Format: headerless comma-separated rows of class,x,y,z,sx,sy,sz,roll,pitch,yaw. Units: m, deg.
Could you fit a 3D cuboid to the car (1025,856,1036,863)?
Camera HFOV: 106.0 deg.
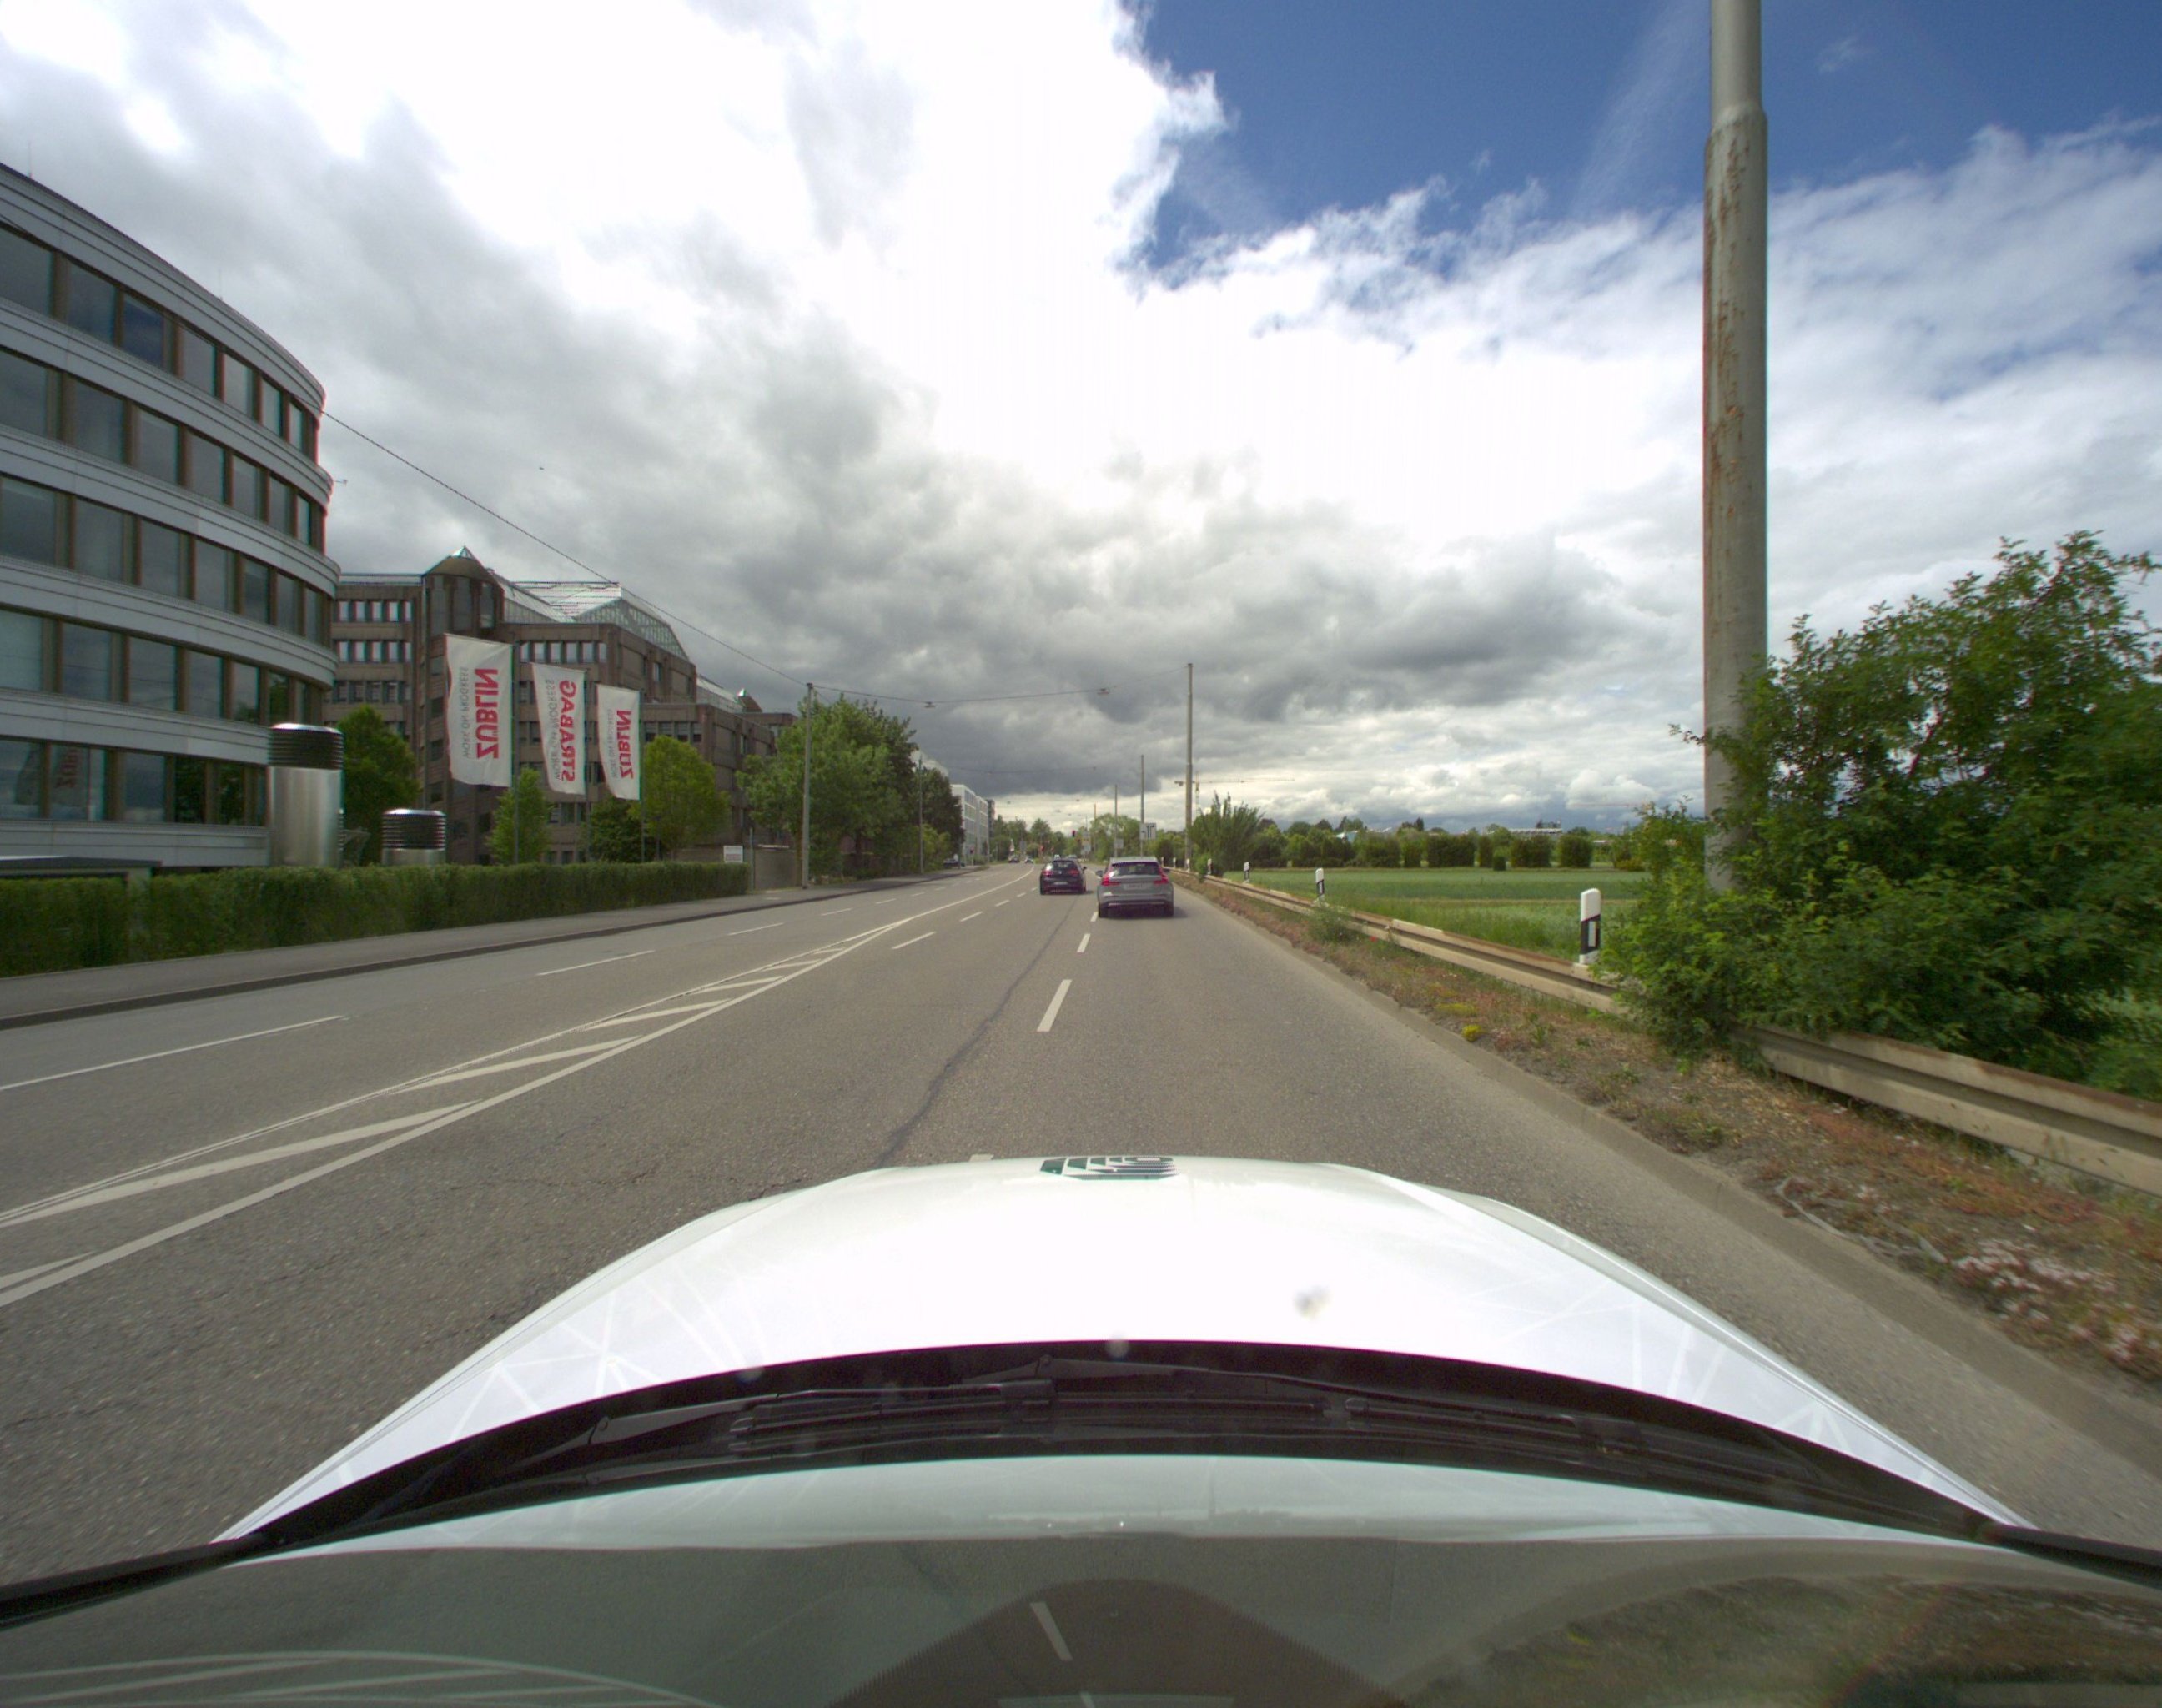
car,-10.624,1.142,171.211,1.875,1.520,4.001,2,-1,1

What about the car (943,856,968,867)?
car,-21.593,1.262,139.988,3.972,1.722,2.000,2,-1,1

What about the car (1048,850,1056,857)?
car,-8.075,-0.210,228.237,1.943,1.750,4.385,2,-1,-1

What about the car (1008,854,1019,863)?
car,-14.315,0.953,173.086,1.875,1.717,4.001,2,-1,1

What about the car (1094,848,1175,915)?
car,1.402,0.679,21.041,1.887,1.554,4.004,0,-1,4

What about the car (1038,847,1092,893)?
car,-0.589,0.658,33.499,1.986,1.717,4.000,2,-1,1

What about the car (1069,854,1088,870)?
car,-0.262,0.906,93.481,1.985,1.695,4.002,2,-1,3
